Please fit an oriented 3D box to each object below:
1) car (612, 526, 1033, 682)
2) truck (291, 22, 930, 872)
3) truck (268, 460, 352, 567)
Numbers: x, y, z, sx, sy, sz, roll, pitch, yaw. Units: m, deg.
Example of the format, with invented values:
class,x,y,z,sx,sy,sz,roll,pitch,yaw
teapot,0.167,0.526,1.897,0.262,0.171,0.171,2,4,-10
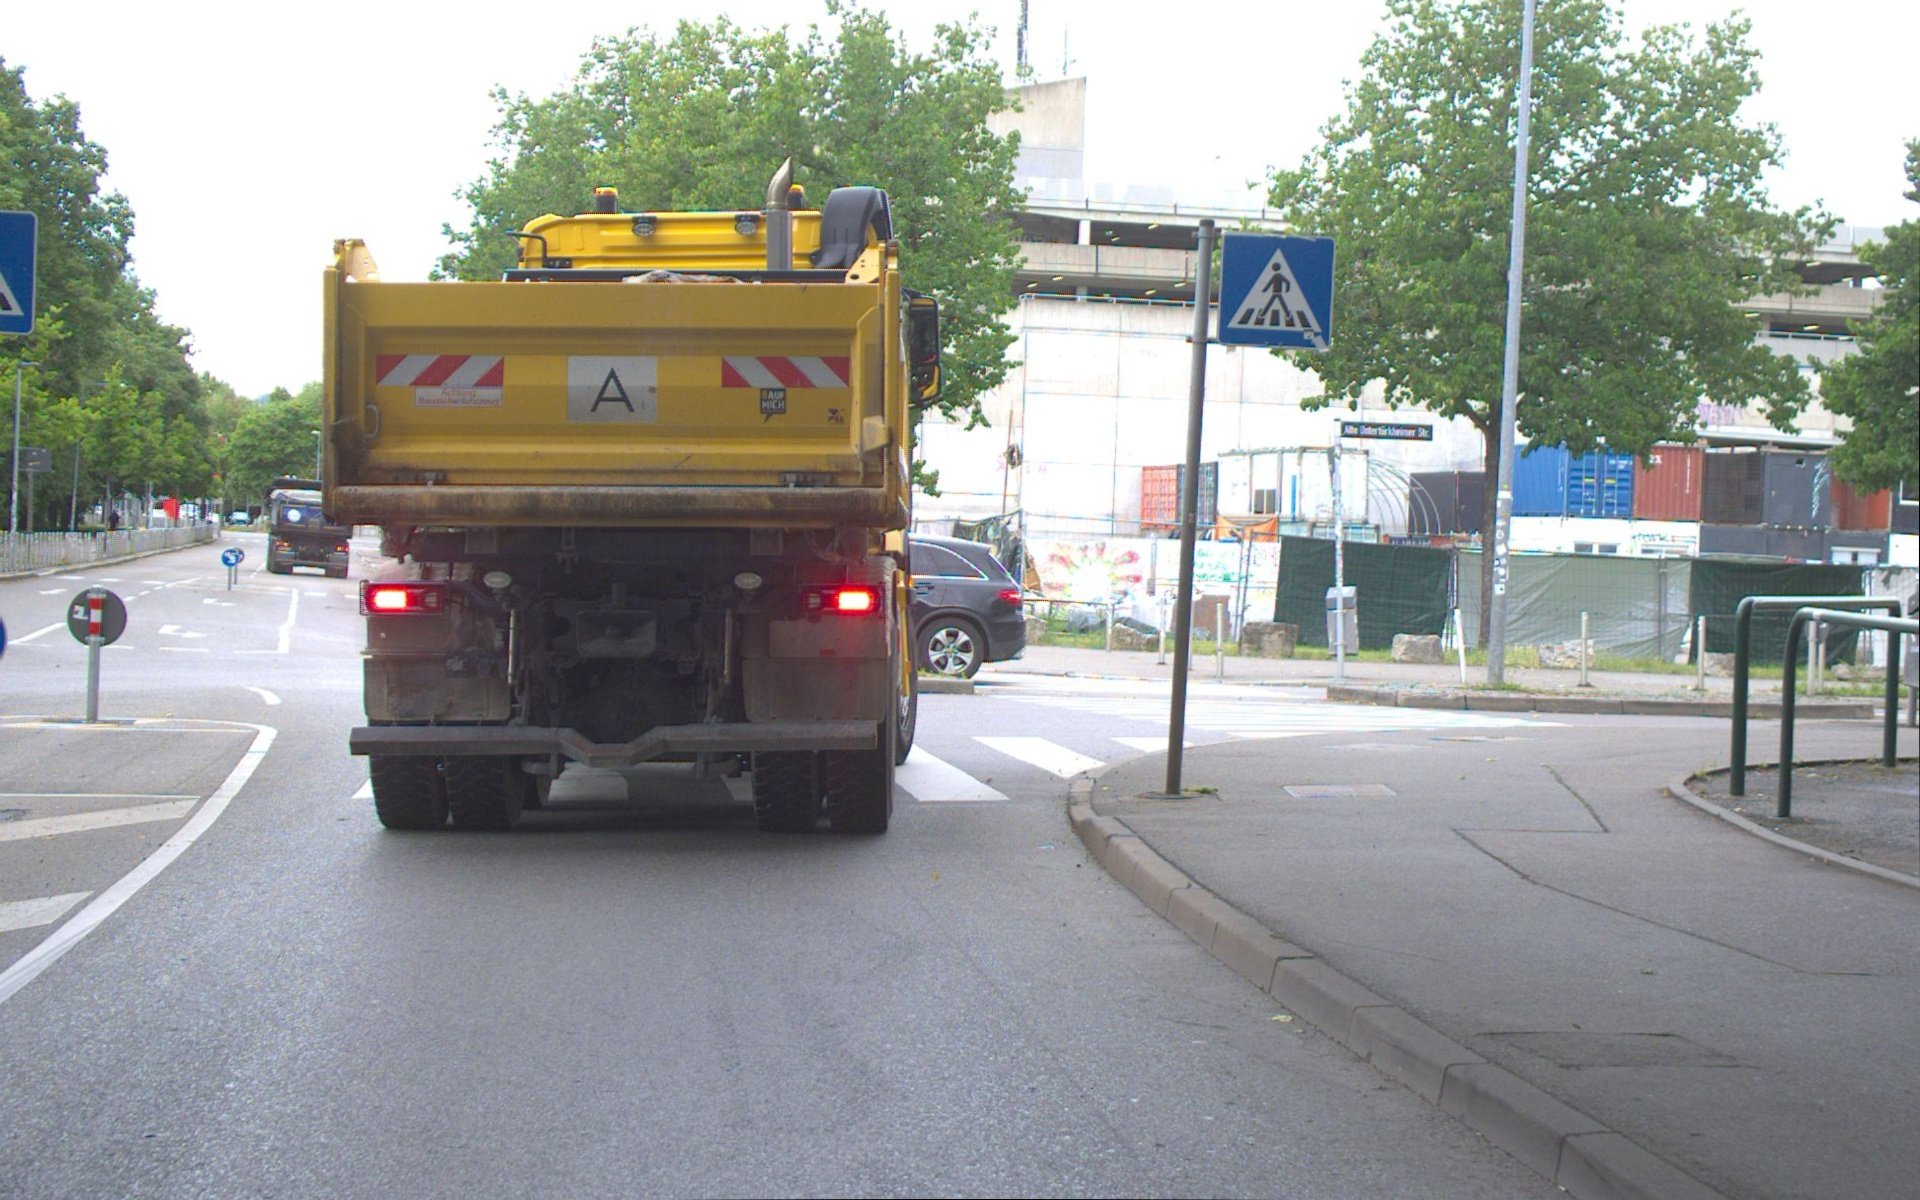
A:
class,x,y,z,sx,sy,sz,roll,pitch,yaw
car,-1.508,0.023,38.342,4.534,1.569,1.846,2,1,-1
truck,-1.571,-0.703,18.930,2.758,3.686,7.880,0,0,-1
truck,-22.383,-2.915,118.096,2.672,3.546,7.926,-1,0,-12
